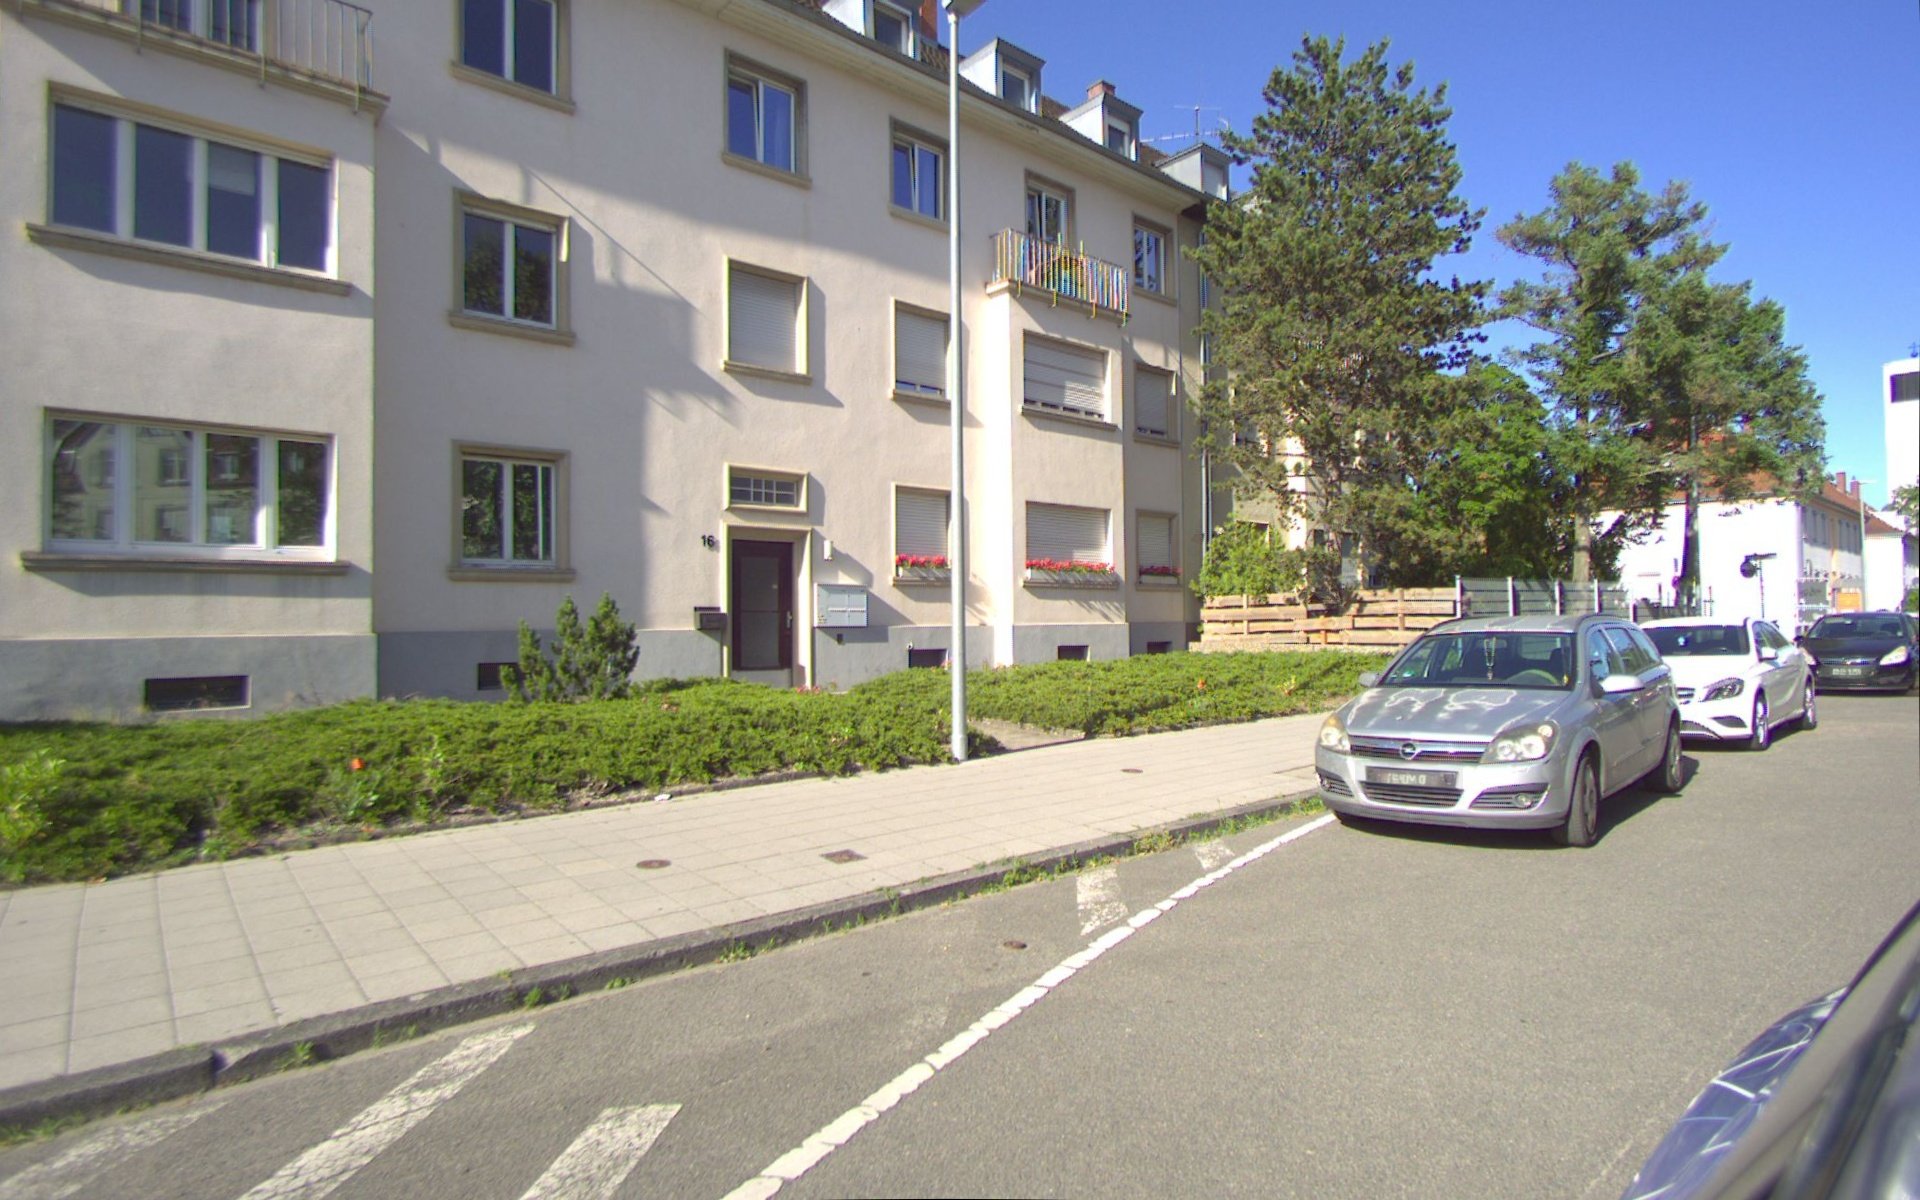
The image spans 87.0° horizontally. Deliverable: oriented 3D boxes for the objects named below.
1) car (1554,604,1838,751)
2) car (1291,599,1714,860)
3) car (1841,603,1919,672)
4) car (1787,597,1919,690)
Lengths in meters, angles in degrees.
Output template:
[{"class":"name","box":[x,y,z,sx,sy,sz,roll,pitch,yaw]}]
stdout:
[{"class":"car","box":[8.946,0.820,12.172,4.213,1.439,1.796,0,-3,-41]},{"class":"car","box":[4.430,0.777,7.913,4.339,1.484,1.659,0,-3,-45]},{"class":"car","box":[21.370,0.799,22.805,4.062,1.441,1.674,0,-3,-41]},{"class":"car","box":[16.747,0.752,18.512,3.925,1.530,1.796,0,-3,-41]}]
